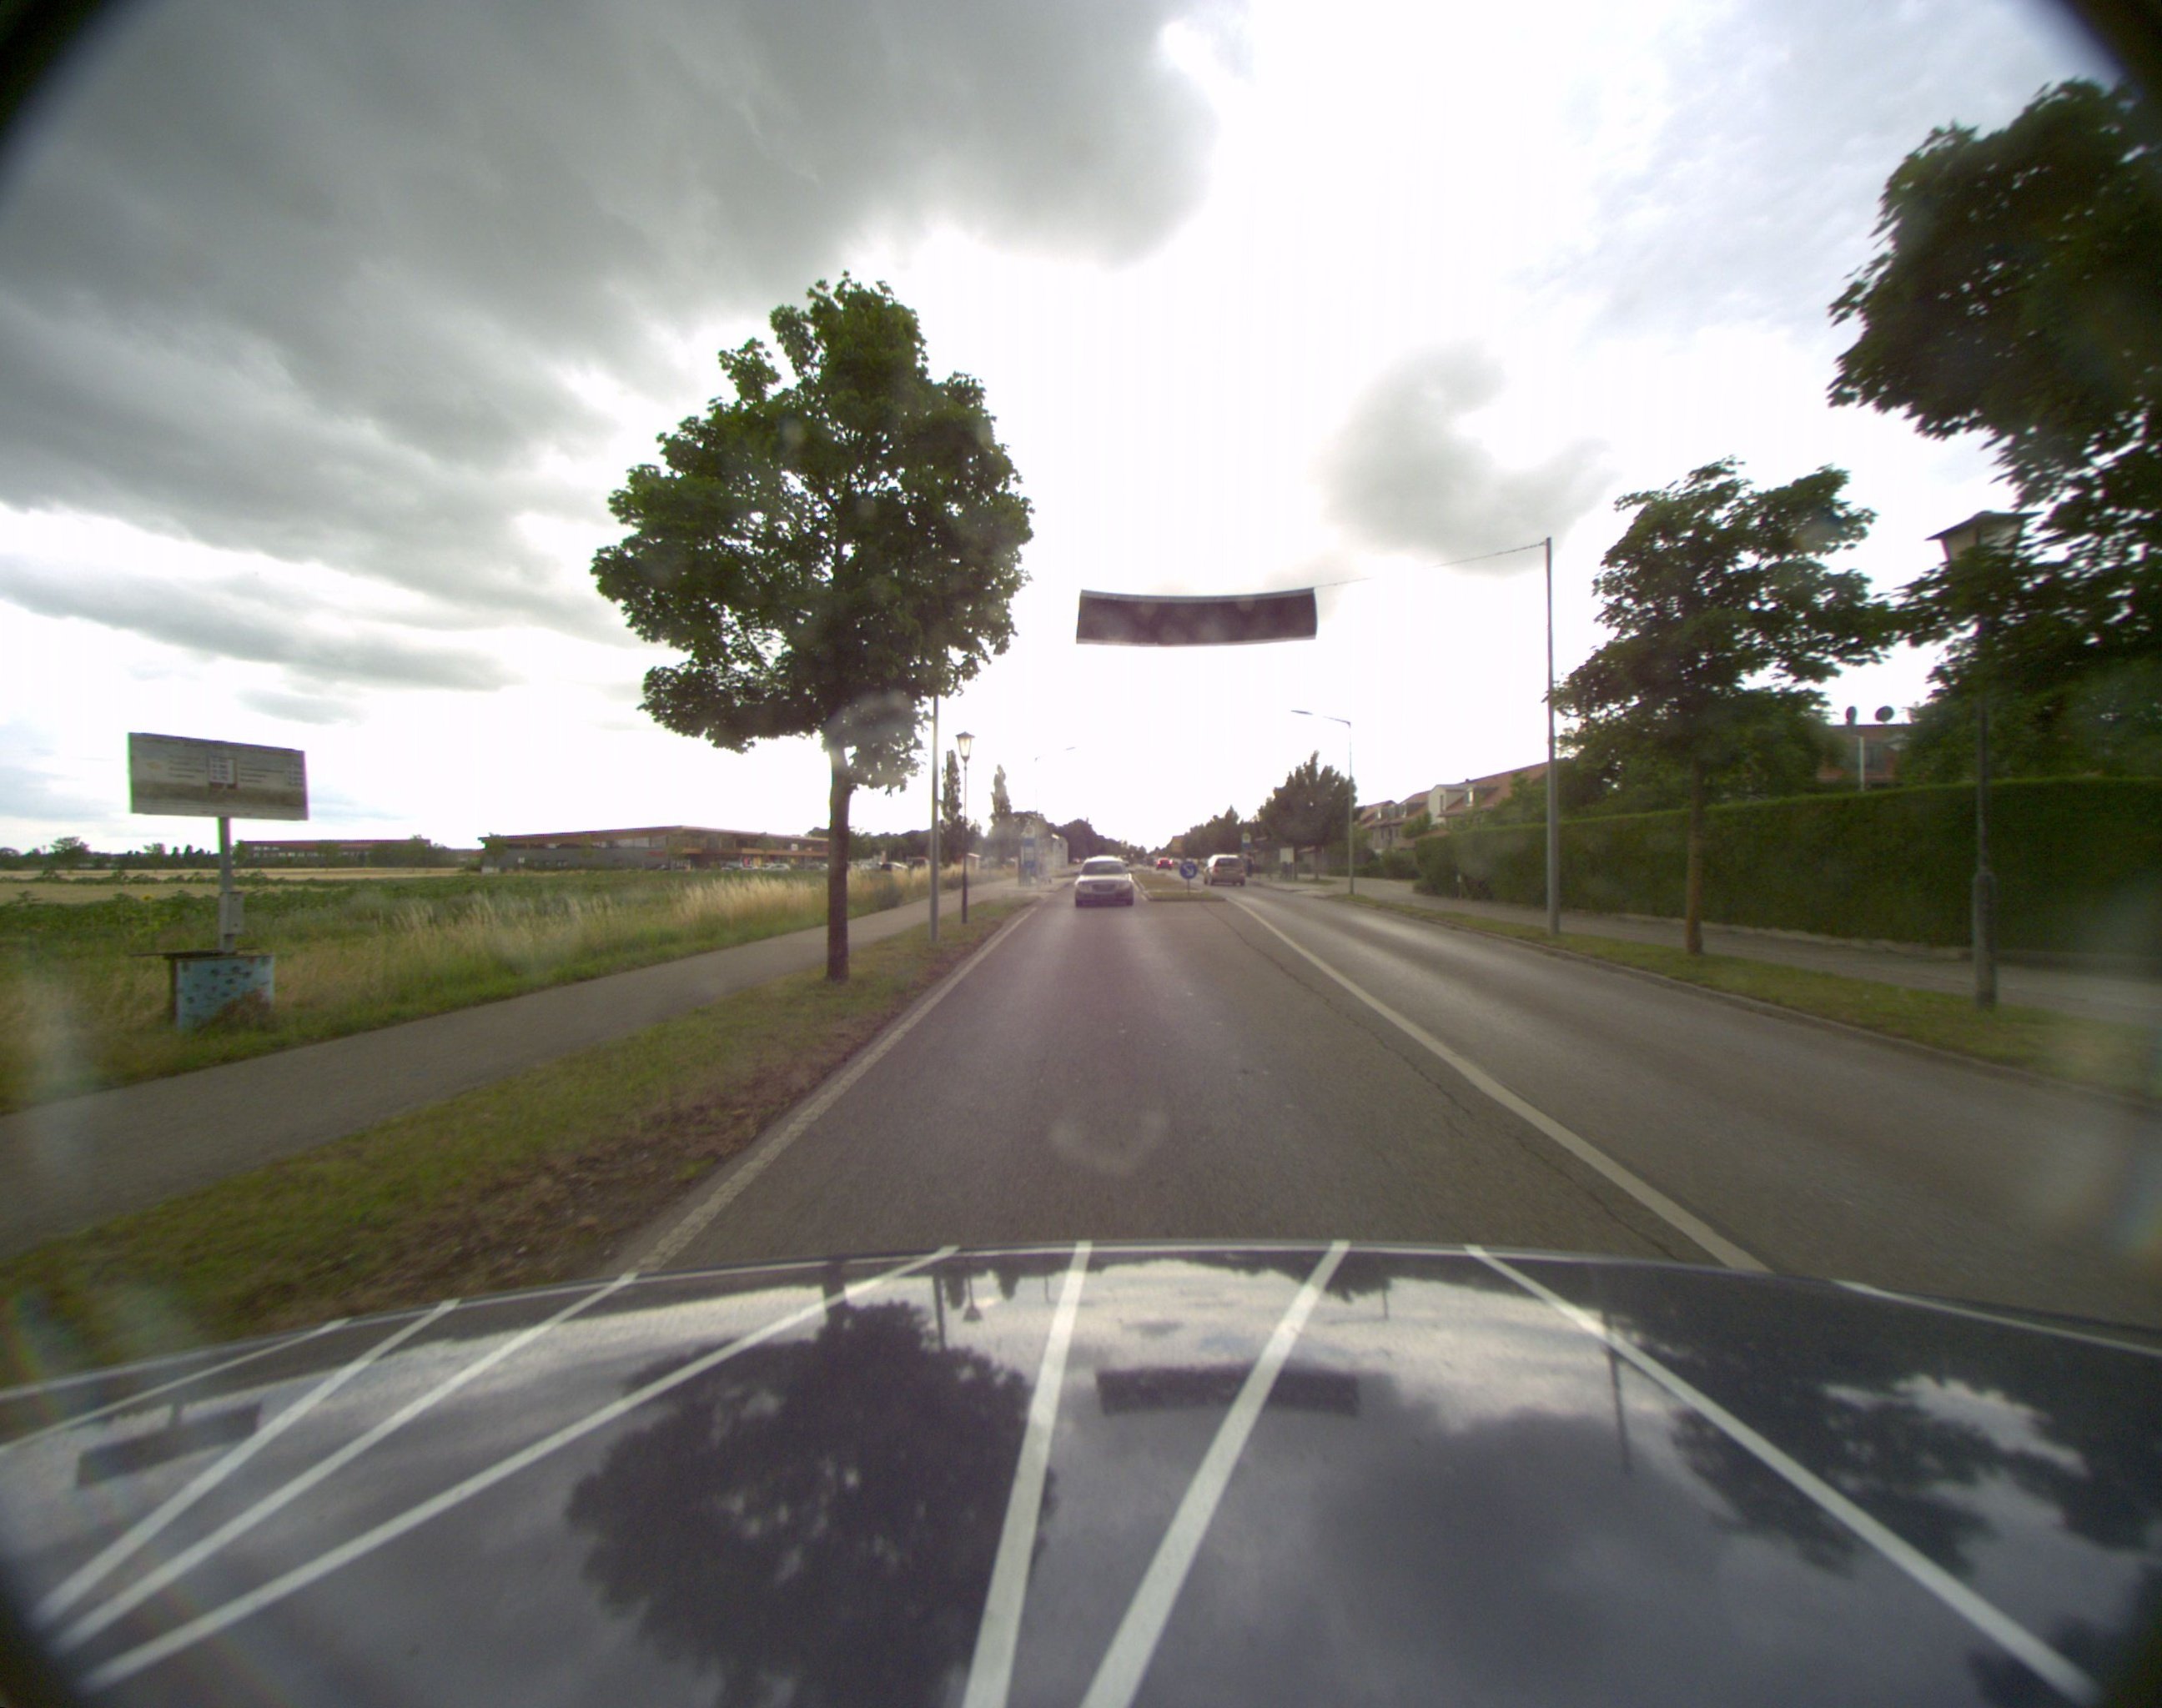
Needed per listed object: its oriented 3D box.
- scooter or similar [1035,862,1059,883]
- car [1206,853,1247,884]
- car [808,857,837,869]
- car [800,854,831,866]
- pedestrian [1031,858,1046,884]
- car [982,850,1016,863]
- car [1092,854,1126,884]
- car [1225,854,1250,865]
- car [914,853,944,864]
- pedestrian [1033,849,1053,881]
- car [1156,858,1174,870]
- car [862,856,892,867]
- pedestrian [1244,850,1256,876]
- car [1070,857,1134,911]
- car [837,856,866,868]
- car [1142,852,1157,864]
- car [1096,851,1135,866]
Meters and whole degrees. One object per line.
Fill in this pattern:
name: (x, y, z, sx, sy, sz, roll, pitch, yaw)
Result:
scooter or similar: (-1.790, 0.970, 40.116, 0.707, 1.056, 1.062, -2, 1, 39)
car: (7.633, 0.745, 40.058, 1.711, 1.523, 3.508, 1, 0, 4)
car: (-49.445, 1.691, 145.192, 4.857, 2.002, 1.999, -2, 1, -5)
car: (-48.378, 1.101, 138.481, 4.857, 2.002, 1.999, -2, 1, -5)
pedestrian: (-2.199, 0.884, 39.715, 0.666, 1.295, 0.505, -3, 1, 3)
car: (-13.633, 0.420, 126.954, 5.526, 2.002, 1.999, -2, 1, -4)
car: (1.593, 0.794, 42.852, 1.763, 1.495, 4.691, -2, 0, 2)
car: (29.821, 1.014, 144.936, 4.567, 2.002, 2.001, -2, 1, 7)
car: (-30.269, 0.901, 151.531, 5.526, 2.002, 1.999, -2, 1, -4)
pedestrian: (-2.164, 0.645, 43.531, 0.782, 1.782, 0.780, -2, 1, 23)
car: (10.547, 1.251, 95.752, 1.924, 1.445, 4.497, 0, 0, 3)
car: (-42.034, 1.552, 156.840, 5.526, 2.002, 1.999, -2, 1, -4)
pedestrian: (11.045, 0.580, 49.612, 0.589, 1.627, 0.813, -1, 0, 2)
car: (0.693, 0.866, 23.990, 1.763, 1.410, 4.520, -2, 0, 2)
car: (-42.794, 1.456, 141.626, 4.857, 2.002, 1.999, -2, 1, -5)
car: (13.013, 0.762, 144.722, 2.560, 2.002, 5.318, -2, 0, 2)
car: (5.047, 0.661, 111.910, 5.316, 2.002, 1.999, -2, 1, -7)
